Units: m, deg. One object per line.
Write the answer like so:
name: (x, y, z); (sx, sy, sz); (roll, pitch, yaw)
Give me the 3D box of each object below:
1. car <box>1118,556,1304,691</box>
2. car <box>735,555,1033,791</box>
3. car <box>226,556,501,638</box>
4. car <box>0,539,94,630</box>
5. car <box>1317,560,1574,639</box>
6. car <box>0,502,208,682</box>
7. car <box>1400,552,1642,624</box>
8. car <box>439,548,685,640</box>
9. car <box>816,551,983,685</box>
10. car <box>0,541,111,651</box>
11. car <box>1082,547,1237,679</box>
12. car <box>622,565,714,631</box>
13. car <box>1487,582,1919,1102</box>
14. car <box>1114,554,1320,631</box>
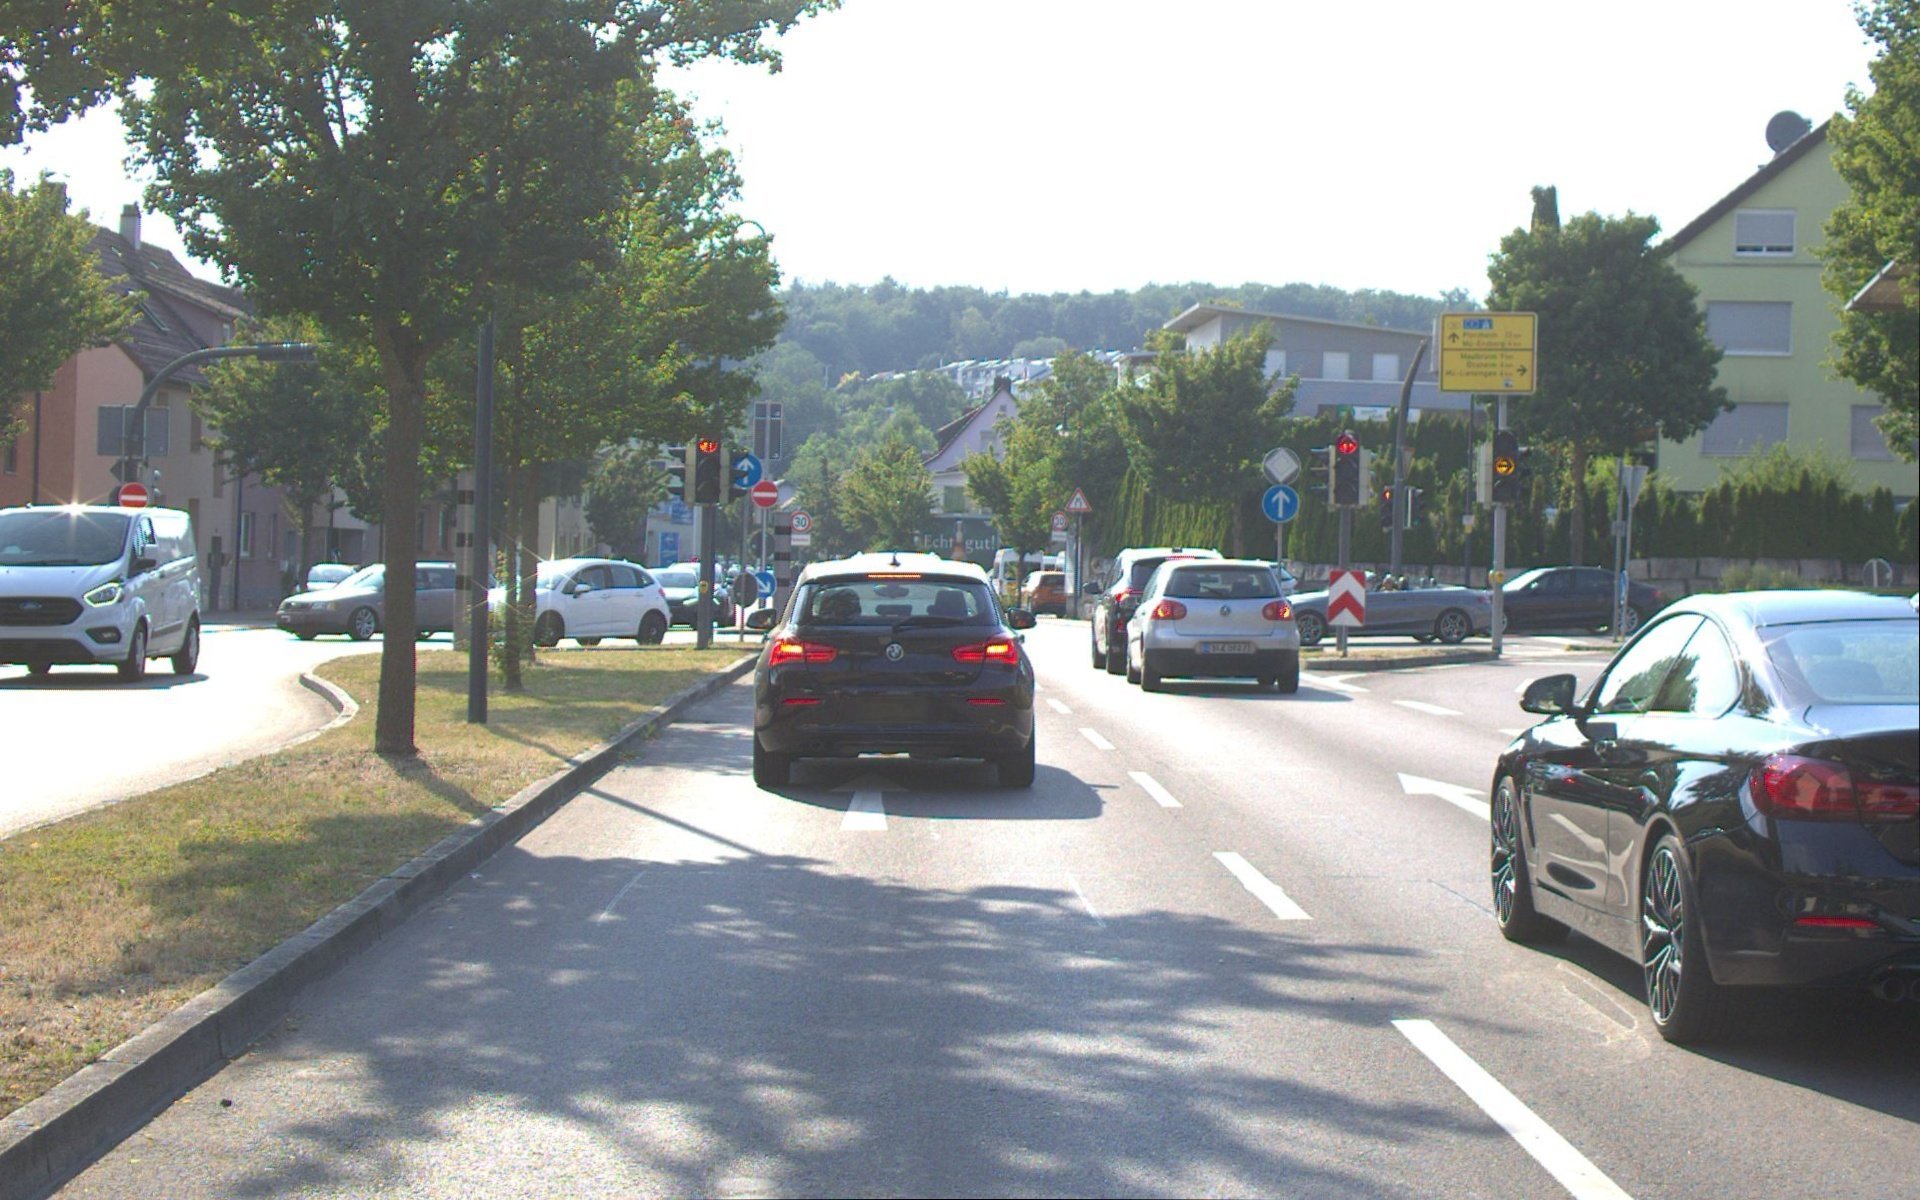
car: (2.811, 0.225, 39.319); (1.816, 1.441, 4.347); (1, 1, 0)
car: (-0.454, 0.412, 22.967); (1.790, 1.410, 4.347); (1, 1, 0)
car: (-10.993, -0.061, 63.499); (4.696, 1.457, 1.692); (0, 1, -34)
car: (-17.378, -0.314, 62.996); (1.843, 1.546, 4.000); (3, 1, 1)
car: (9.226, -0.018, 65.453); (4.462, 1.344, 1.787); (1, 4, -10)
car: (-9.996, -0.121, 39.300); (1.823, 1.917, 4.945); (0, 1, -1)
car: (11.622, -0.254, 71.327); (4.628, 1.417, 1.849); (1, 1, -4)
car: (-6.703, -0.113, 58.181); (1.805, 1.492, 3.946); (1, 1, 41)
car: (-0.655, 0.166, 39.621); (1.816, 1.446, 4.242); (1, 1, 0)
car: (-13.516, -0.090, 49.045); (1.807, 1.492, 4.246); (1, 1, -1)
car: (2.611, 0.132, 45.851); (1.816, 1.660, 4.347); (1, 1, 0)
car: (-6.783, -0.066, 80.260); (1.766, 1.453, 4.000); (1, 1, 0)
car: (3.018, 0.658, 11.588); (1.816, 1.384, 4.347); (1, 1, 0)
car: (5.780, -0.178, 77.785); (1.892, 1.696, 4.521); (-1, 1, -44)
